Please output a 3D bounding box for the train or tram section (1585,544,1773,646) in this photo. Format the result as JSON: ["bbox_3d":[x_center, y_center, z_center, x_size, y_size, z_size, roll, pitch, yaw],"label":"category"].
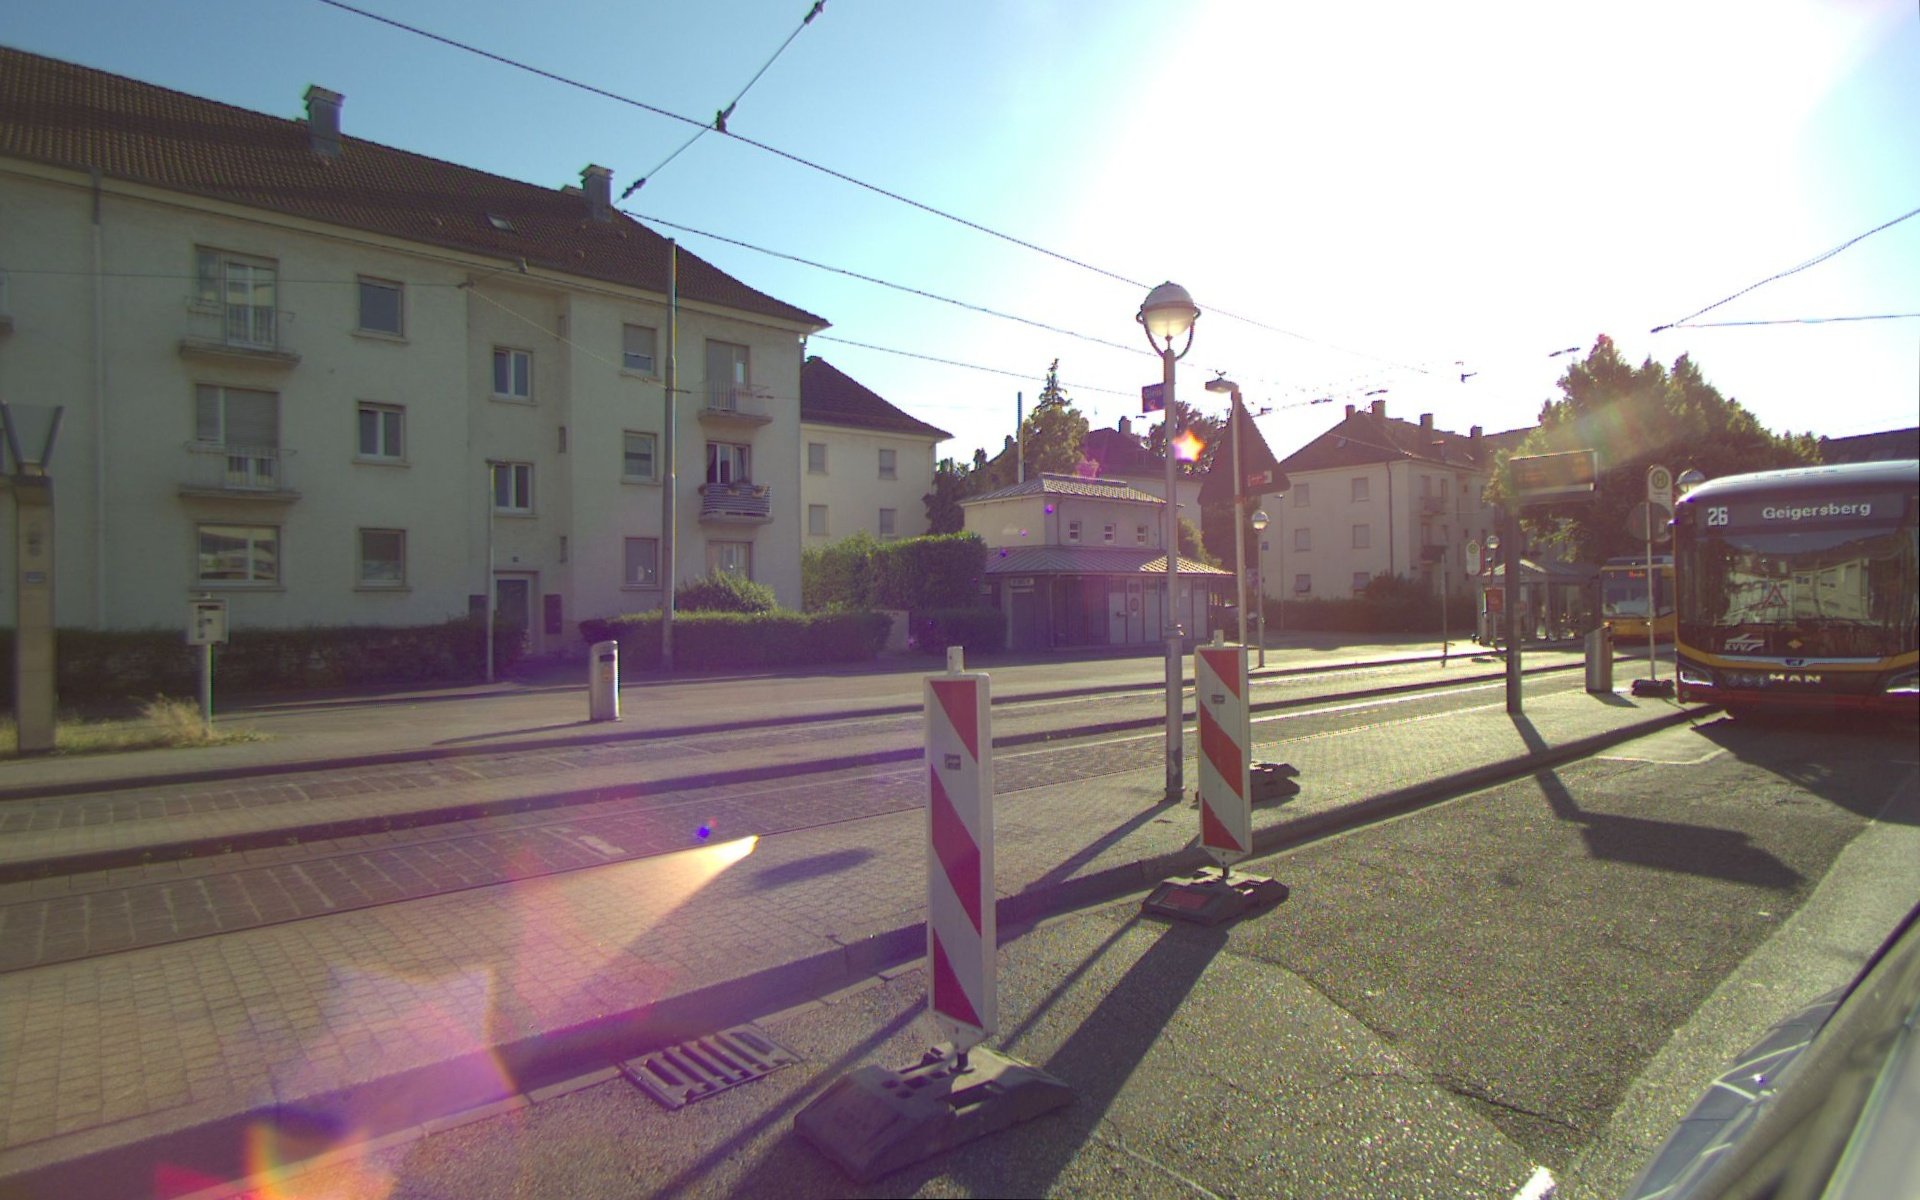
[{"bbox_3d":[29.941,-0.394,41.581,15.698,3.578,2.961,-2,1,-42],"label":"train or tram section"}]

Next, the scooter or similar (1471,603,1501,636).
[{"bbox_3d":[20.291,0.747,39.054,1.185,1.223,0.468,-1,0,-30],"label":"scooter or similar"}]

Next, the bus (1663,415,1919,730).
[{"bbox_3d":[14.271,-0.312,15.817,11.810,3.460,2.692,0,-1,-42],"label":"bus"}]

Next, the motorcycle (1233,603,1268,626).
[{"bbox_3d":[15.740,0.781,54.880,0.549,1.177,1.823,0,0,-43],"label":"motorcycle"}]

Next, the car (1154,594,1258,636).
[{"bbox_3d":[11.346,0.629,46.883,1.963,1.791,4.451,0,1,-37],"label":"car"}]
